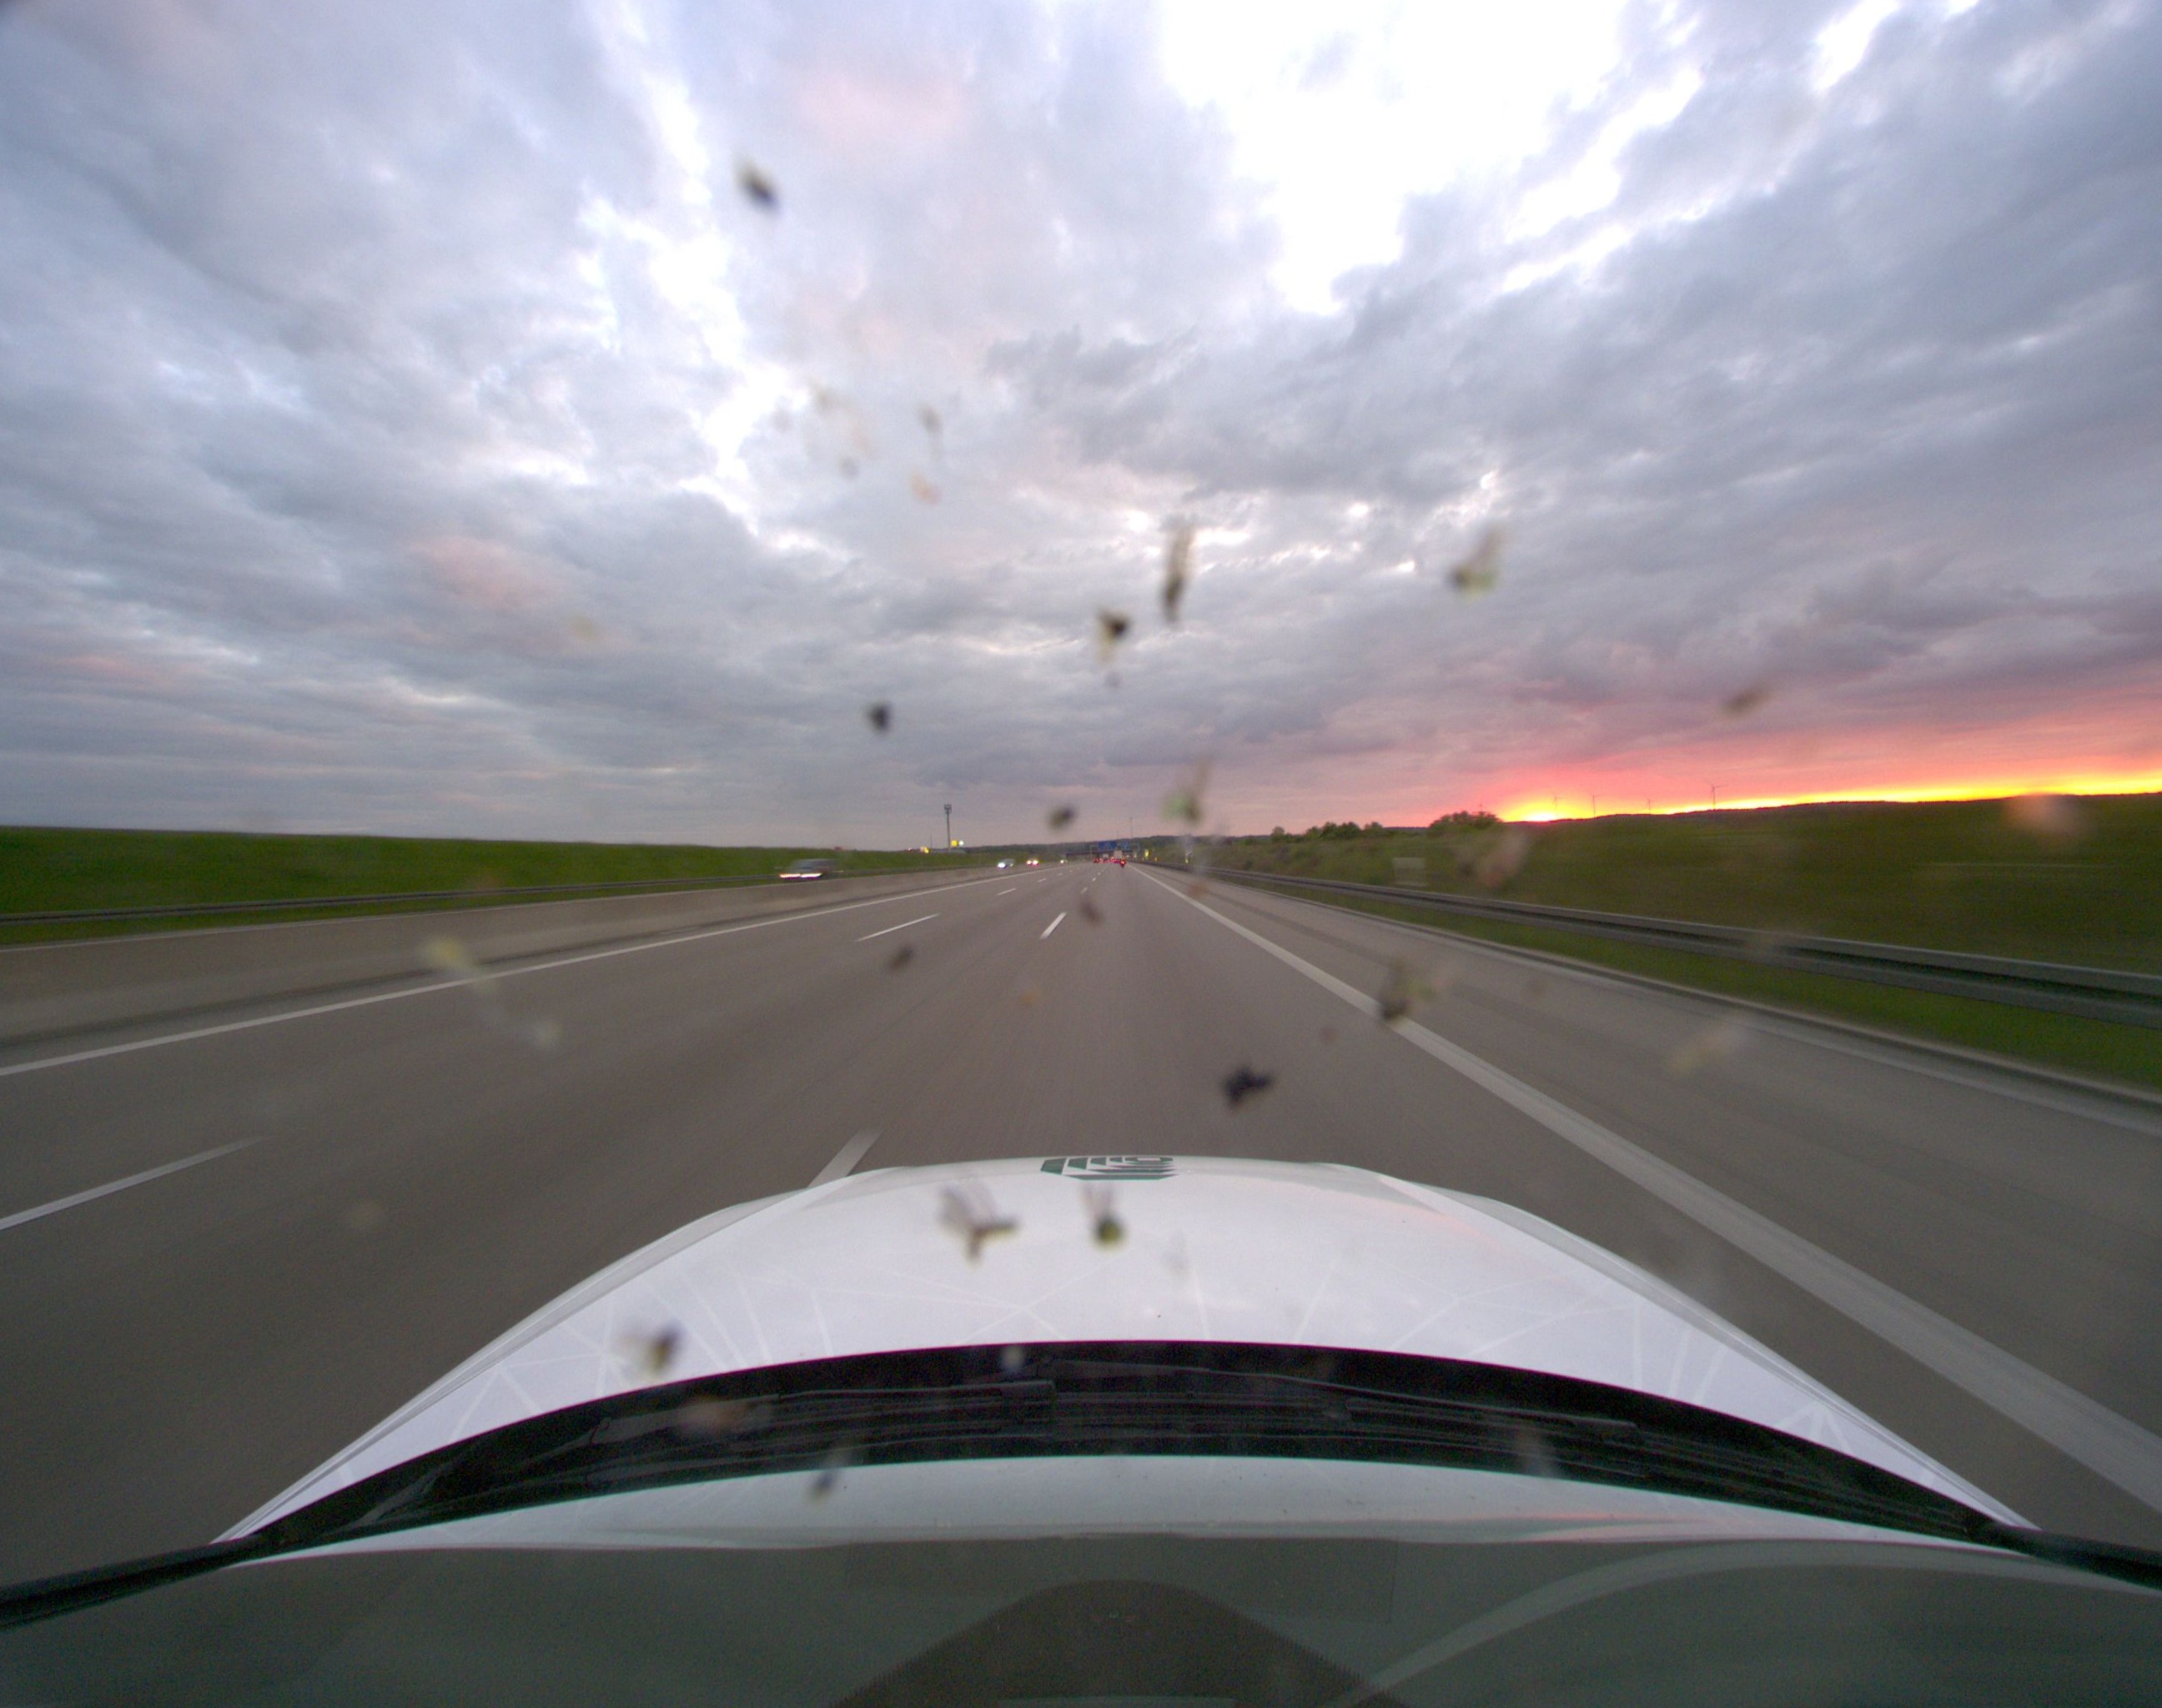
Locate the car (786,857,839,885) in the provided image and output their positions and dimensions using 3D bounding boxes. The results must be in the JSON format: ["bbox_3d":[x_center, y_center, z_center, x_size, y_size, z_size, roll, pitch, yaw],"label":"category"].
[{"bbox_3d":[-19.274,1.177,58.691,1.986,1.936,5.092,-1,0,2],"label":"car"}]

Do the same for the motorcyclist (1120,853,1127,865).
[{"bbox_3d":[5.713,0.676,109.482,0.862,1.487,1.169,-1,0,4],"label":"motorcyclist"}]

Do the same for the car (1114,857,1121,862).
[{"bbox_3d":[10.572,1.553,233.465,1.911,1.579,4.001,-2,0,1],"label":"car"}]

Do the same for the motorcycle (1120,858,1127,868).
[{"bbox_3d":[5.721,1.201,109.365,0.898,1.346,2.350,-2,1,3],"label":"motorcycle"}]

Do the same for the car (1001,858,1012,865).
[{"bbox_3d":[-15.593,1.570,170.780,1.624,1.517,4.428,-1,0,2],"label":"car"}]
